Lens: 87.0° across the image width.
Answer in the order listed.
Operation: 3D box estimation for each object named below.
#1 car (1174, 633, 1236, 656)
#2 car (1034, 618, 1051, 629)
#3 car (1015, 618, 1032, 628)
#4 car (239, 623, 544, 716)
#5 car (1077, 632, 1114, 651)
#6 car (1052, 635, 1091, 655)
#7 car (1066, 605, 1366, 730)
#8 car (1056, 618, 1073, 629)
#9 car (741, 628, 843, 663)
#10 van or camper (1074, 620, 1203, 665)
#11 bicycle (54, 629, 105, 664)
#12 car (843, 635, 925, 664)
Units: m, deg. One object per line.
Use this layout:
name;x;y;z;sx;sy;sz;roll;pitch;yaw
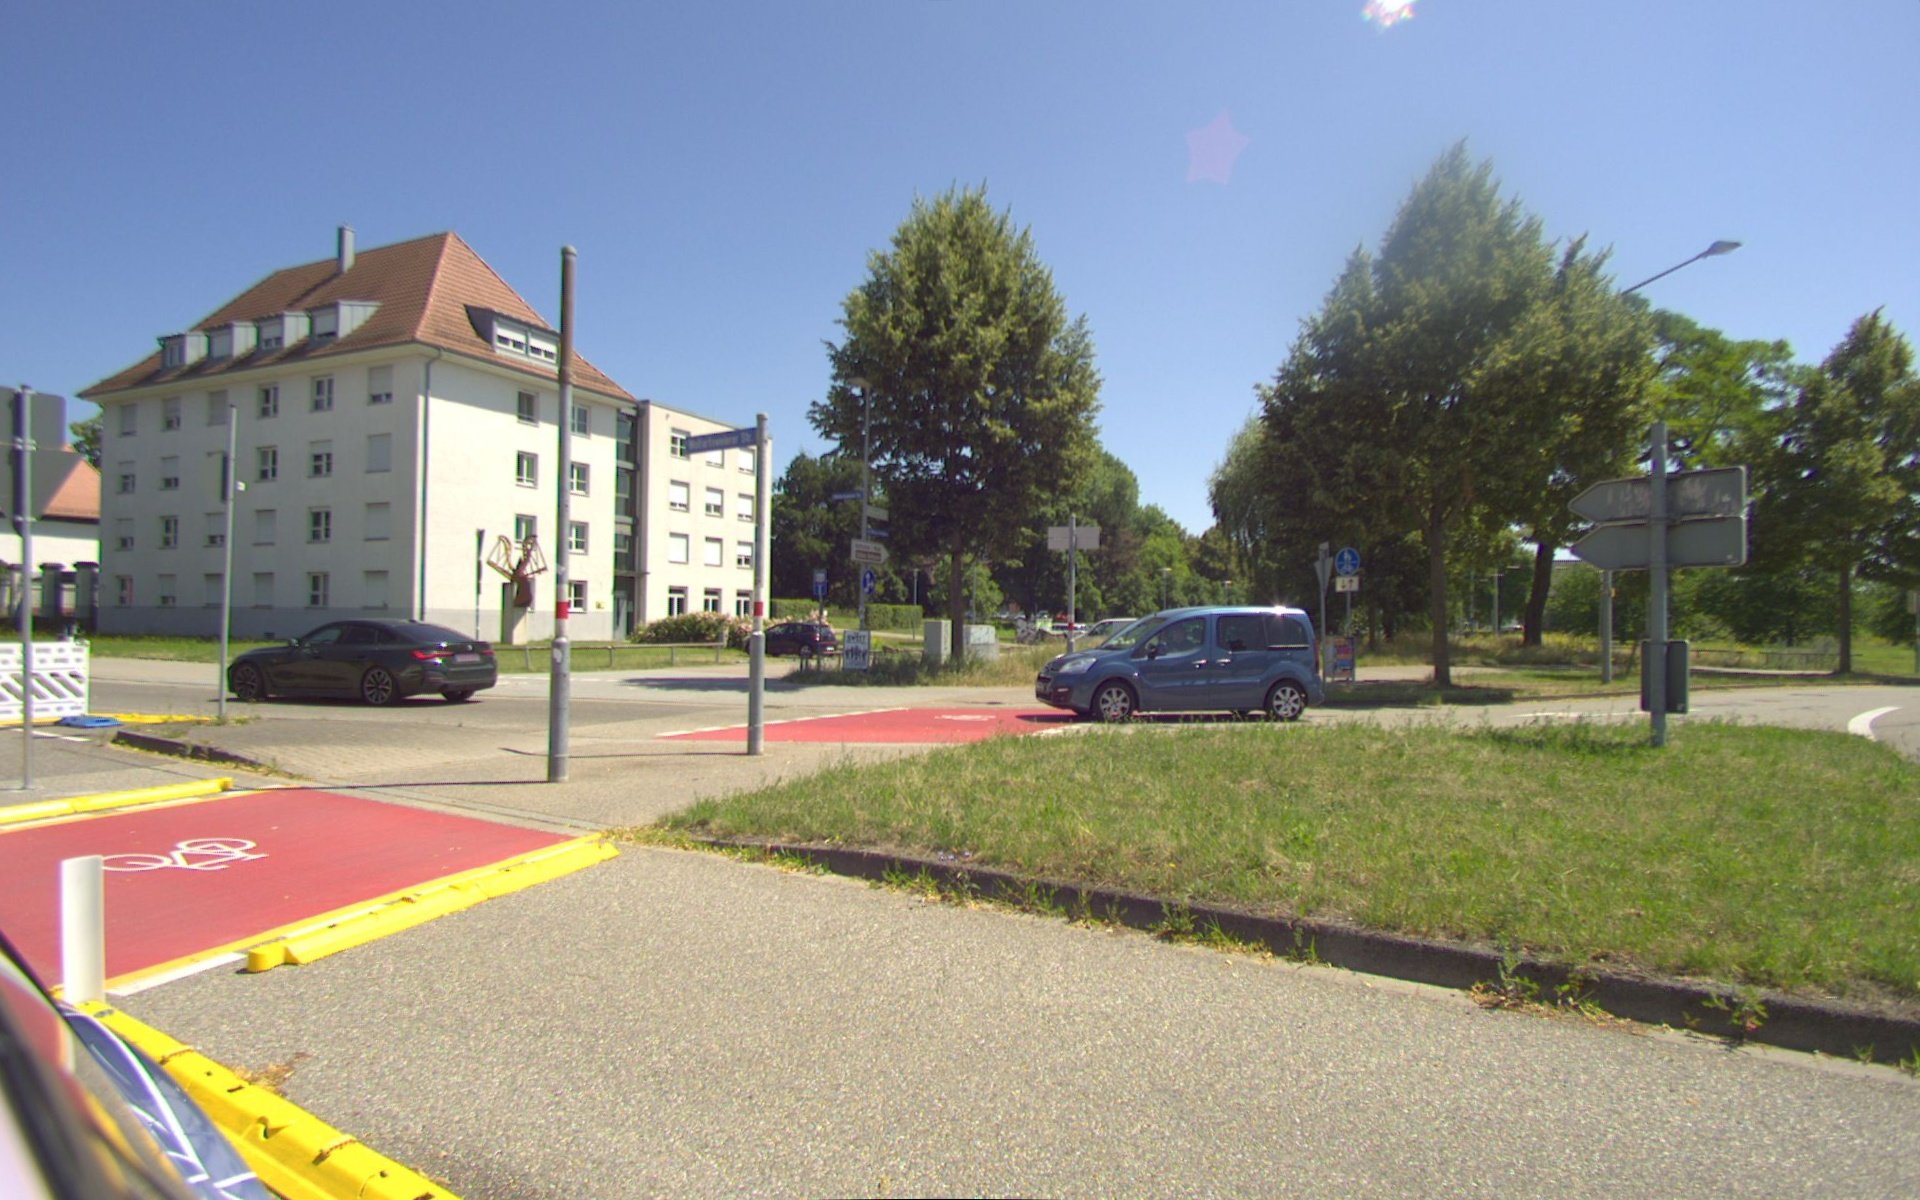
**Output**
car;14.546;2.625;60.127;3.373;1.291;1.341;-1;-2;34
car;11.126;3.107;135.925;1.469;1.427;3.006;0;-1;21
car;8.569;3.104;137.349;1.469;1.427;3.006;0;-1;21
car;-9.562;1.113;17.103;4.574;1.423;1.715;0;-2;14
car;10.046;3.098;75.178;2.521;1.368;1.071;-1;-2;33
car;7.766;3.116;70.815;2.521;1.368;1.071;-1;-2;33
car;3.884;1.023;15.672;4.136;1.783;1.693;1;-3;-10
car;13.921;3.098;134.639;1.469;1.427;3.006;0;-1;21
car;-6.724;1.800;40.501;3.788;1.337;1.645;0;-2;27
van or camper;7.789;1.825;44.281;5.244;1.871;1.983;0;-2;26
bicycle;-28.402;1.472;32.634;1.979;1.032;0.702;0;1;32
car;-3.431;2.227;45.666;3.495;1.227;1.344;0;-2;27
